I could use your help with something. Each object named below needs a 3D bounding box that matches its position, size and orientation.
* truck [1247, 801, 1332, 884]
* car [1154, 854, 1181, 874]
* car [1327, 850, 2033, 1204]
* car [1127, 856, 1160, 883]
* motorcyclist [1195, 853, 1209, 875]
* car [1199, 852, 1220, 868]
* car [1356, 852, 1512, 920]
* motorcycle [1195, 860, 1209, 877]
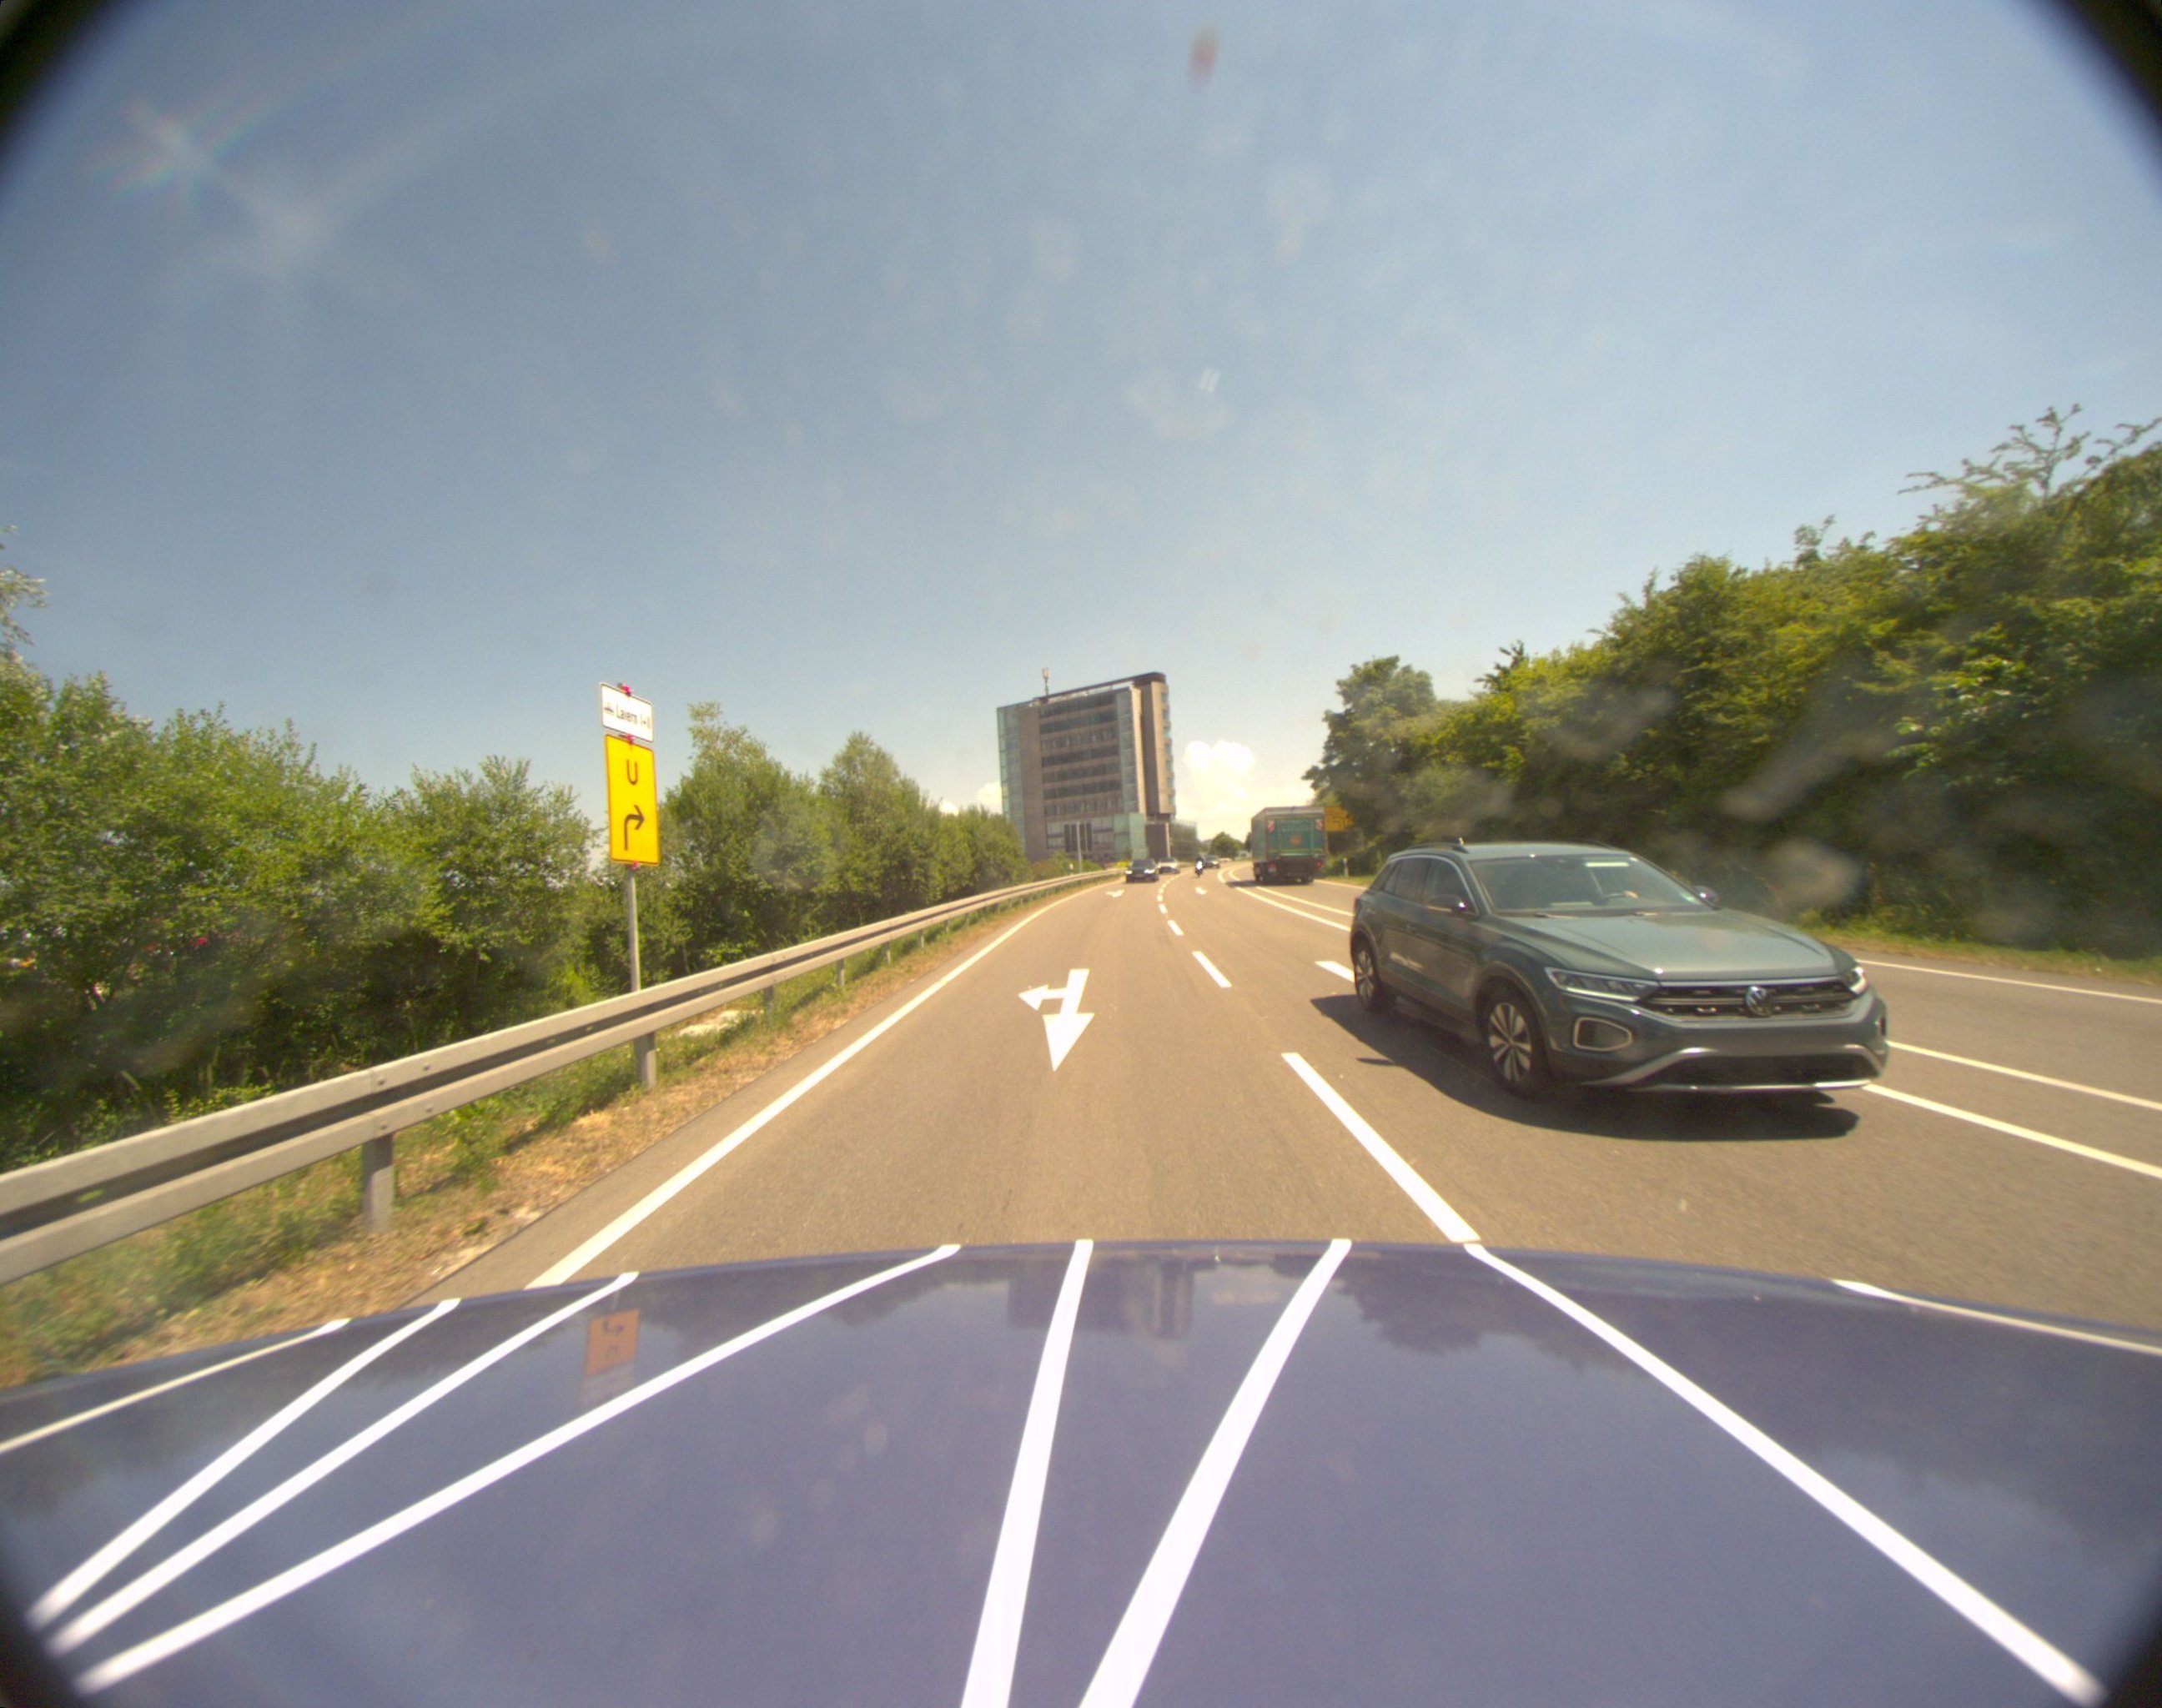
[{"bbox_3d":[10.200,-0.512,38.121,2.874,3.553,9.437,-2,0,8],"label":"truck"},{"bbox_3d":[7.678,0.921,66.999,1.932,1.576,4.184,-5,-3,10],"label":"car"},{"bbox_3d":[3.450,0.805,5.675,1.839,1.577,4.391,-2,0,1],"label":"car"},{"bbox_3d":[3.894,0.951,47.079,1.779,1.497,4.564,-2,-1,7],"label":"car"},{"bbox_3d":[8.365,0.682,52.554,0.860,1.479,1.162,-1,0,2],"label":"motorcyclist"},{"bbox_3d":[14.202,0.600,83.844,2.115,1.581,4.454,-3,0,12],"label":"car"},{"bbox_3d":[8.530,0.702,18.818,1.882,1.433,4.330,-2,0,1],"label":"car"},{"bbox_3d":[8.379,0.989,52.605,0.734,1.131,2.073,-1,0,3],"label":"motorcycle"}]
